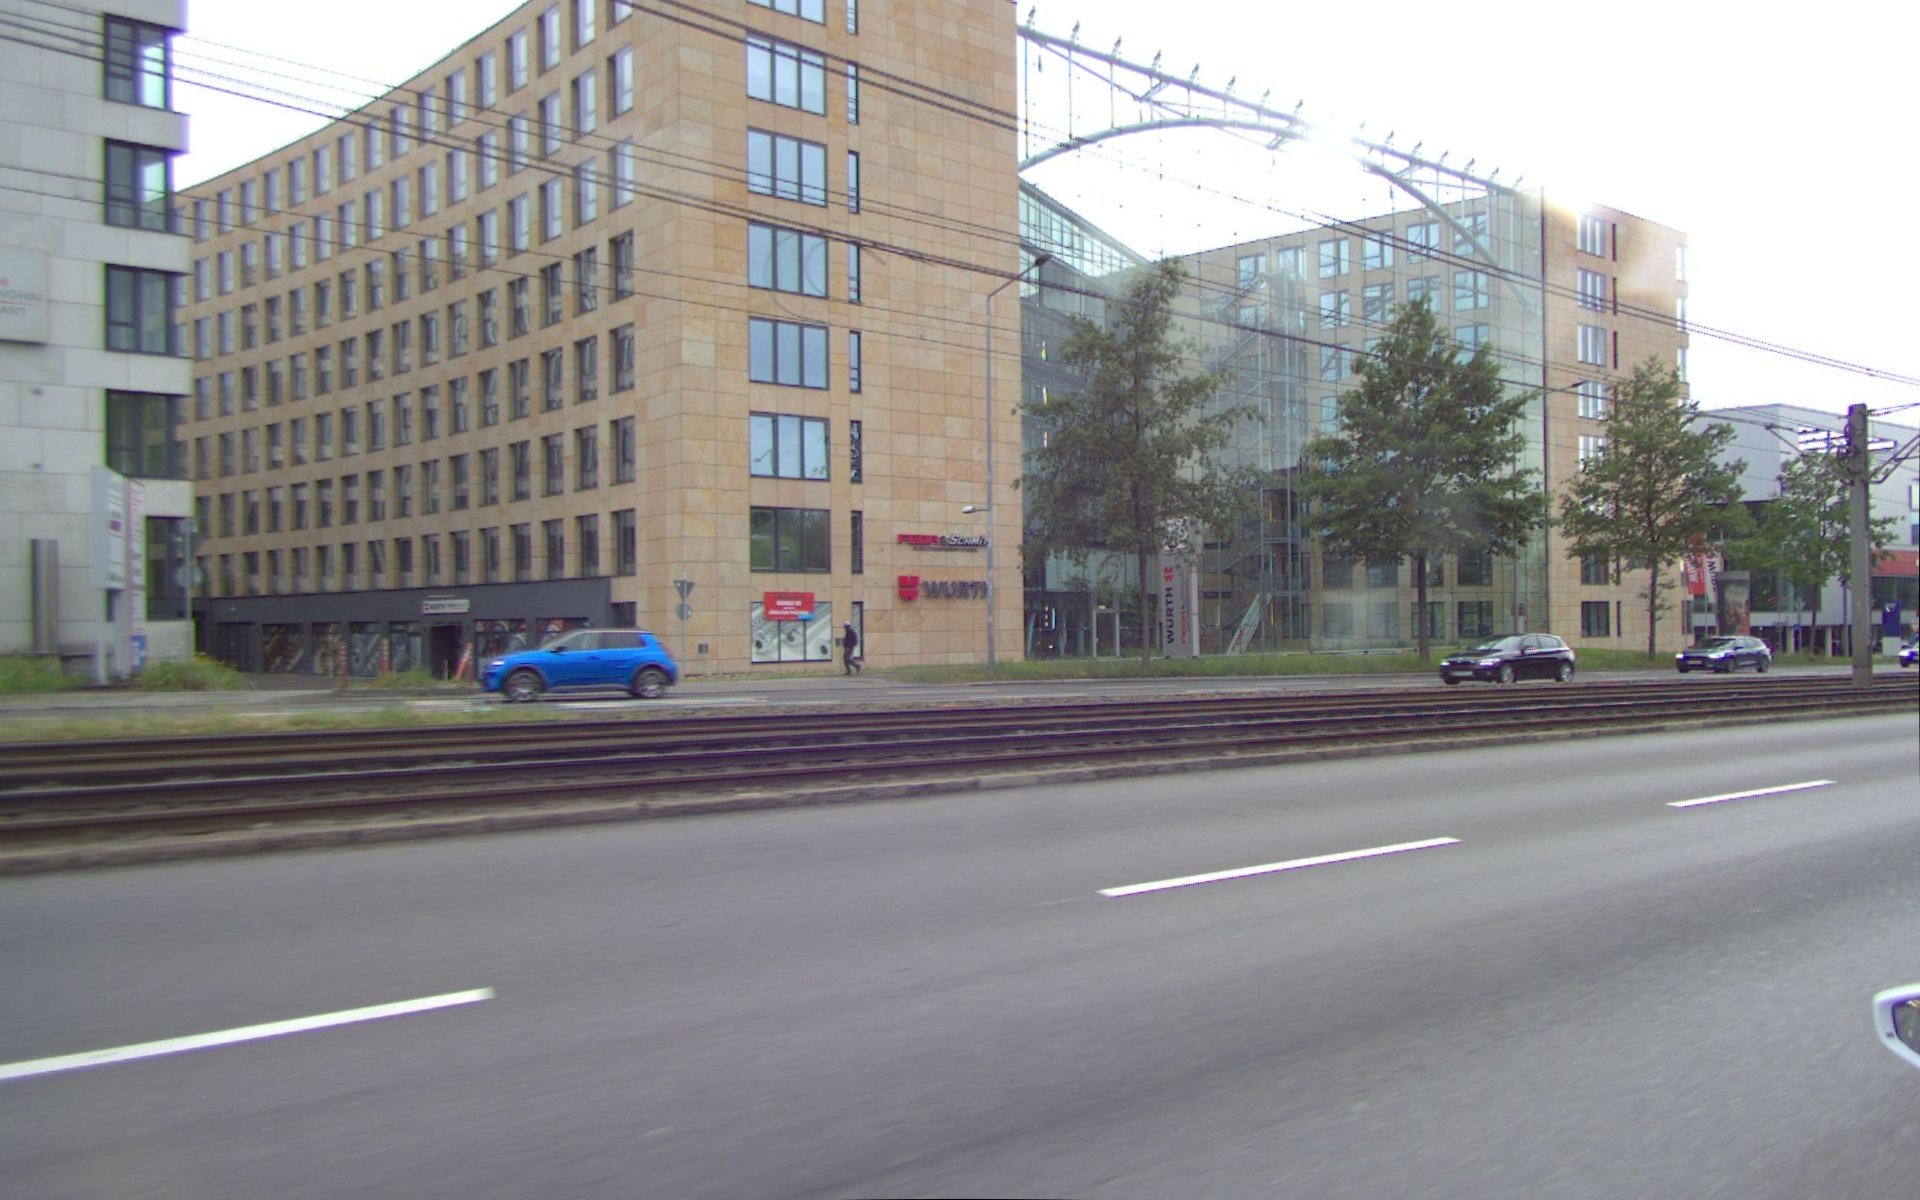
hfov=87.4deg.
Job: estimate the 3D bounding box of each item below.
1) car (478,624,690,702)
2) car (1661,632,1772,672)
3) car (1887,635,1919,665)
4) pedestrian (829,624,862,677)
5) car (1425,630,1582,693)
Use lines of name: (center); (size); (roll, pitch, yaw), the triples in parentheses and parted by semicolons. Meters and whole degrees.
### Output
car: (-8.030, 1.347, 21.485); (3.977, 1.473, 1.832); (3, -1, -30)
car: (30.258, 2.088, 40.144); (4.598, 1.505, 1.833); (1, -4, -30)
car: (49.438, 2.527, 51.205); (4.598, 1.505, 1.833); (1, -4, -30)
pedestrian: (-3.718, 1.638, 32.655); (0.823, 1.653, 0.638); (3, -1, -33)
car: (14.918, 1.695, 27.523); (4.148, 1.521, 1.765); (3, -1, -28)
